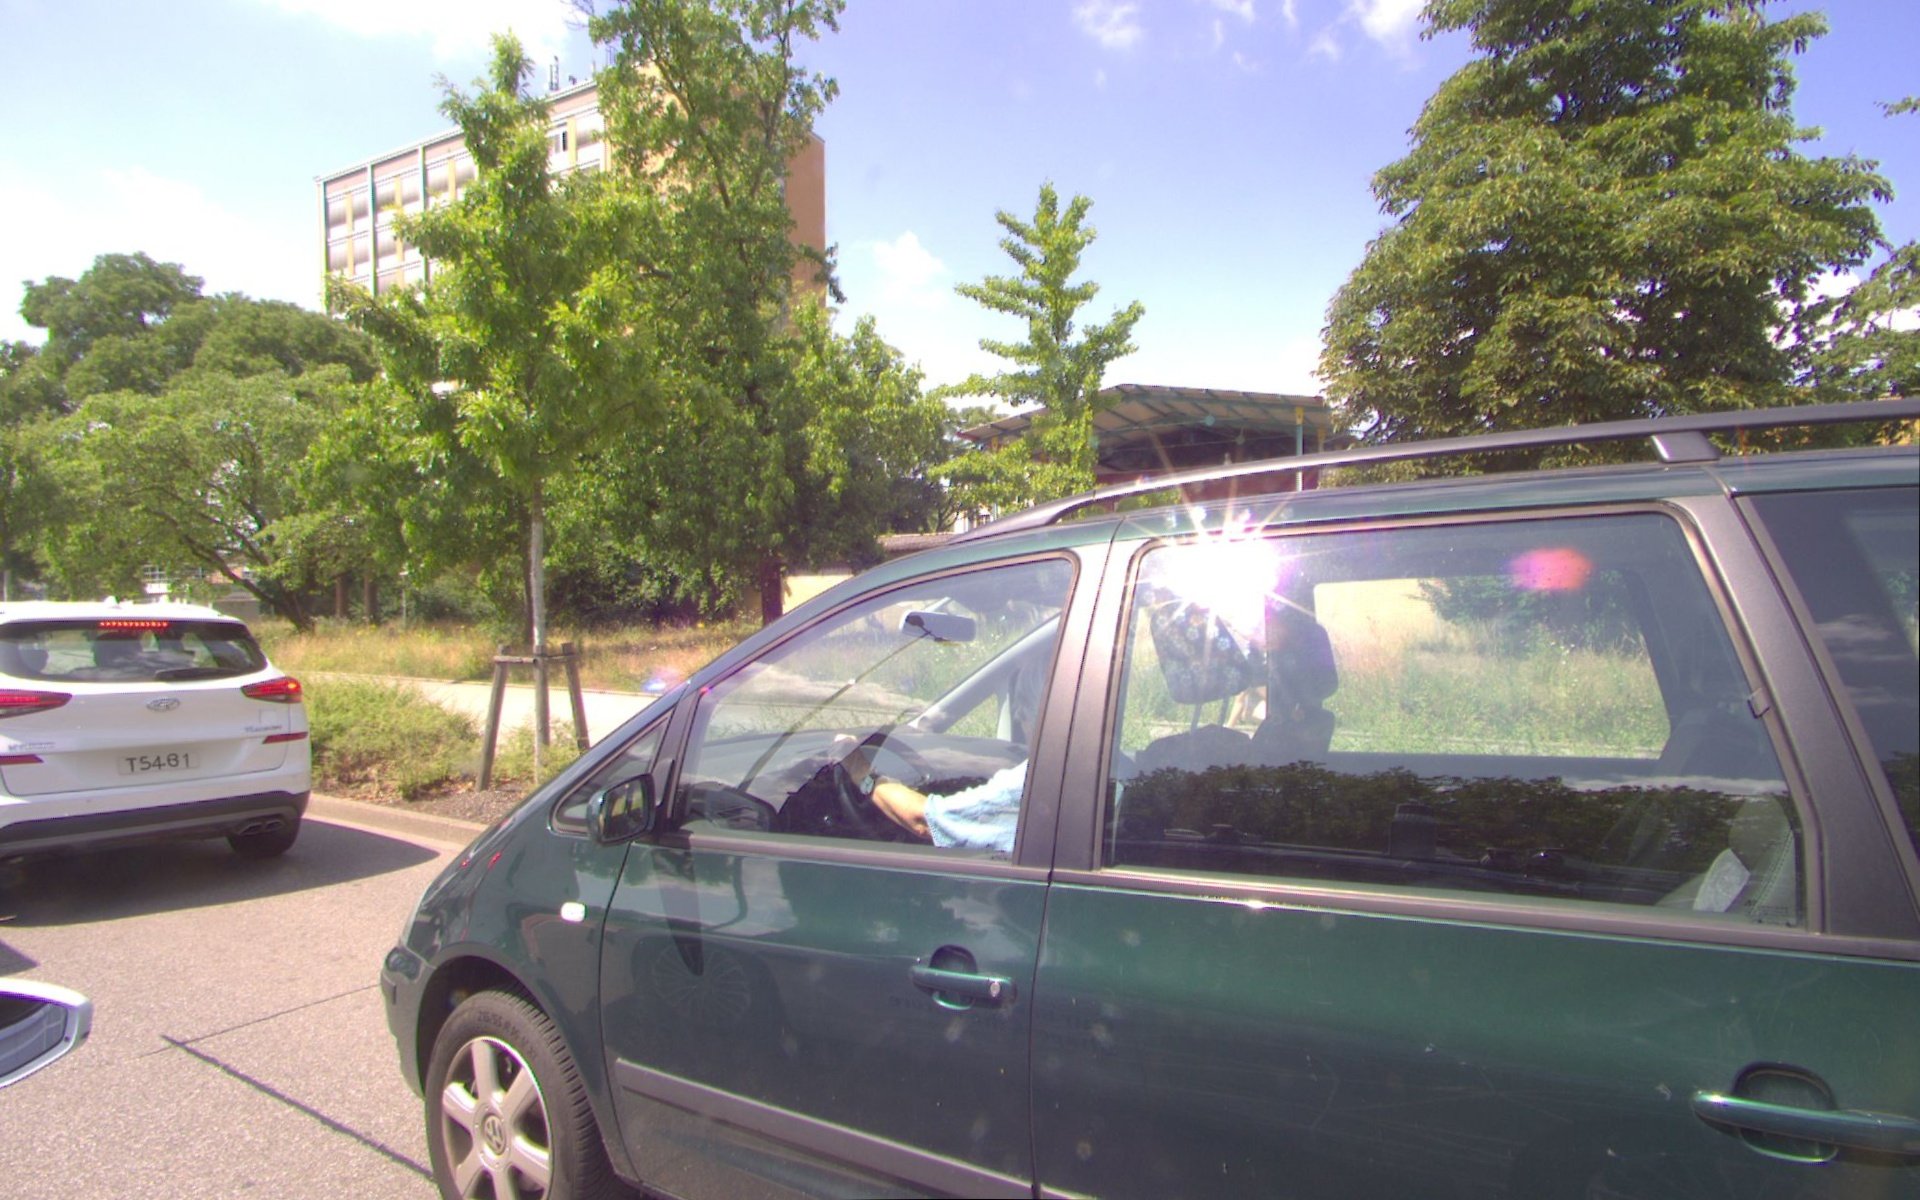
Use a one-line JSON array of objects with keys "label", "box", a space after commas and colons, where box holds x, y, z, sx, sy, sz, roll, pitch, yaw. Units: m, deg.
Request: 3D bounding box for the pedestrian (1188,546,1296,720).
[{"label": "pedestrian", "box": [2.705, 0.303, 9.586, 0.805, 1.578, 0.757, 0, 1, 34]}]

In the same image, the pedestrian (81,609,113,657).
[{"label": "pedestrian", "box": [-33.883, 1.283, 39.310, 0.805, 1.874, 0.756, 0, 1, 35]}]

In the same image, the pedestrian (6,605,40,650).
[{"label": "pedestrian", "box": [-39.796, 1.163, 42.530, 0.802, 1.874, 0.759, 0, 1, 22]}]

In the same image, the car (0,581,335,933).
[{"label": "car", "box": [-5.924, 0.772, 6.435, 3.919, 1.701, 1.810, 0, 0, 34]}]

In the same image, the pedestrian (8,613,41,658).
[{"label": "pedestrian", "box": [-35.330, 1.337, 37.816, 0.805, 1.677, 0.756, 0, 1, 36]}]

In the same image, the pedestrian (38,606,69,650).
[{"label": "pedestrian", "box": [-39.438, 1.200, 43.567, 0.803, 1.874, 0.759, 0, 1, 24]}]

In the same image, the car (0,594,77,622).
[{"label": "car", "box": [-99.463, 0.884, 107.355, 2.449, 2.751, 7.083, 0, -2, 12]}]

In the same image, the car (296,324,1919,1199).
[{"label": "car", "box": [0.551, 0.634, 2.286, 4.329, 1.737, 1.799, 0, -2, 32]}]
